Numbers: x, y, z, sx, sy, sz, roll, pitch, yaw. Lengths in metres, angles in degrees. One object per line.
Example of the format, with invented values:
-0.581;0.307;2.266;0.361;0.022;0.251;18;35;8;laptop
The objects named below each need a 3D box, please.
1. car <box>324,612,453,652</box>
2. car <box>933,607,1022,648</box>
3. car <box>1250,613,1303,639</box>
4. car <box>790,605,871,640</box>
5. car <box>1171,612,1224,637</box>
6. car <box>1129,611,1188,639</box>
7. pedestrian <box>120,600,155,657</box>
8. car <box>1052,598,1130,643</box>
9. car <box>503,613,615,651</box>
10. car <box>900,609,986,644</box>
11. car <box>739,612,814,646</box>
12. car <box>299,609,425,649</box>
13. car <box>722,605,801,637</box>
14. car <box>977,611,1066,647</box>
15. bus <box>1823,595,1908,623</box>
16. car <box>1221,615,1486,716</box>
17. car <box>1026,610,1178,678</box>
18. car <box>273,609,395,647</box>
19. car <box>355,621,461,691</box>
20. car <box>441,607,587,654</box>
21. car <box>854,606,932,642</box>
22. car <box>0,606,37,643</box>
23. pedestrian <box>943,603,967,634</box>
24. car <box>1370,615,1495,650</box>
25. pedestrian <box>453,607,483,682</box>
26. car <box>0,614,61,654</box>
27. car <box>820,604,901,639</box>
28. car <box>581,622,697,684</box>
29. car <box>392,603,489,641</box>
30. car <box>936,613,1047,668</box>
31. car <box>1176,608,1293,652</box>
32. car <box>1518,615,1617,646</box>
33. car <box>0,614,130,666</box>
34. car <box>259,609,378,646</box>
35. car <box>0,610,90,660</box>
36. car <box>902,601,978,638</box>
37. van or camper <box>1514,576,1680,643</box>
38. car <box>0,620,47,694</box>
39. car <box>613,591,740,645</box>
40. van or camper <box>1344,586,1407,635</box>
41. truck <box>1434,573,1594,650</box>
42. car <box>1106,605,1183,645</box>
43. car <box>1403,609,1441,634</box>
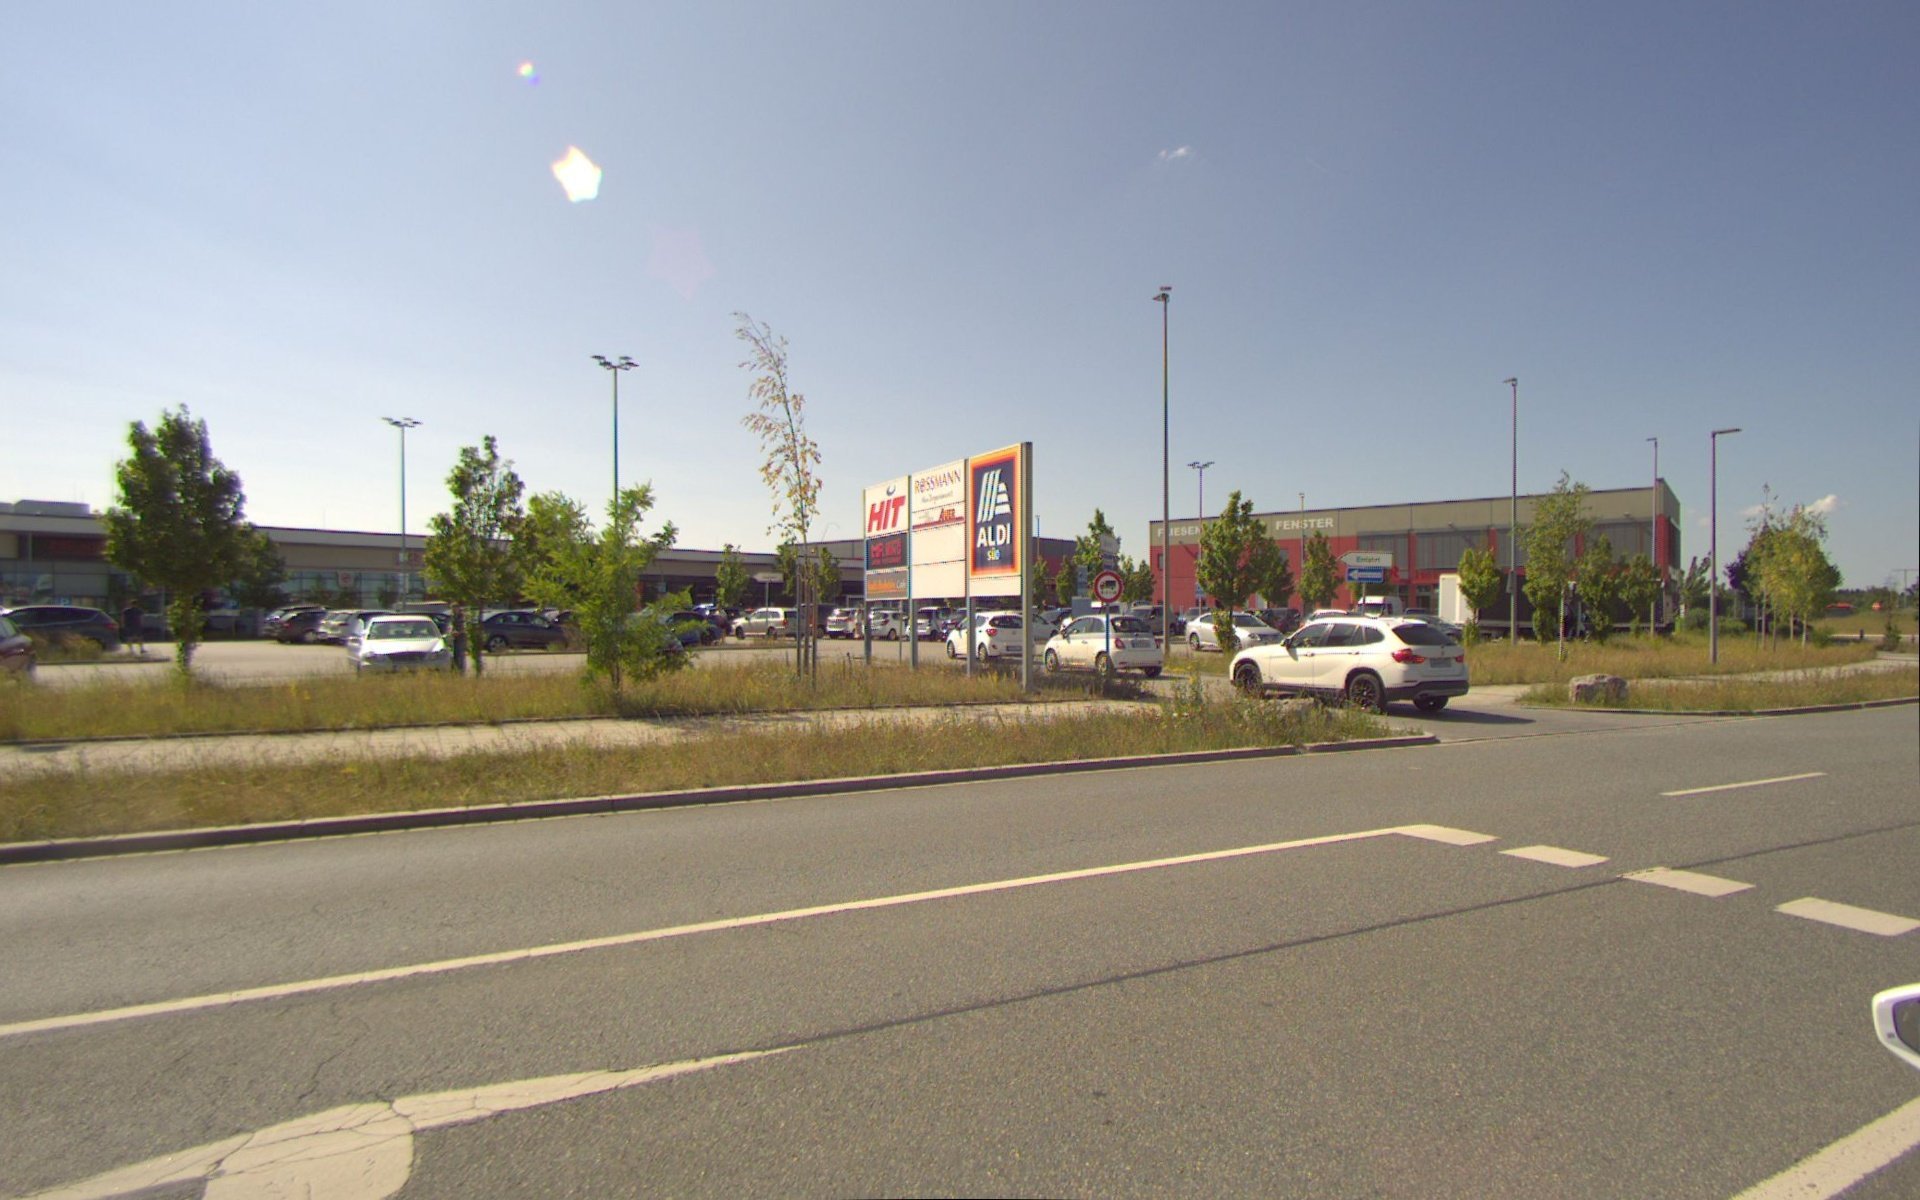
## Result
-23.464;1.274;41.361;1.690;1.565;4.337;-1;-1;38;car
0.873;1.277;47.384;1.888;1.827;4.362;0;-1;39;car
19.706;1.597;62.356;1.809;1.583;4.365;0;-1;37;car
-6.965;1.195;54.227;1.886;1.817;4.367;0;-1;35;car
15.583;1.598;65.827;1.809;1.583;4.365;0;-1;37;car
12.059;1.504;60.798;1.809;1.583;4.365;0;-1;37;car
-27.055;0.927;33.034;0.562;1.848;0.777;0;-1;40;pedestrian
6.570;1.019;50.015;1.810;2.092;4.362;0;-1;39;car
-17.651;1.396;44.386;1.690;1.596;4.337;-1;-1;38;car
-0.804;1.294;49.403;1.888;1.639;4.362;0;-1;39;car
-8.798;1.347;48.071;1.825;1.568;3.953;1;-1;-40;car
-25.659;1.230;43.213;1.690;1.637;4.337;-1;-1;38;car
-11.300;1.186;57.535;1.886;1.748;4.367;0;-1;35;car
2.835;1.290;45.363;1.810;1.532;4.362;0;-1;39;car
114.094;1.121;126.504;12.019;3.120;2.783;-2;0;-21;bus
6.831;1.061;17.909;1.894;1.568;4.195;1;-1;-28;car
3.479;1.060;25.366;1.893;1.568;3.972;1;-1;-27;car
-27.848;1.234;44.825;1.690;1.623;4.337;-1;-1;38;car
-12.343;1.170;22.400;1.914;1.366;4.124;0;-1;-30;car
-15.276;1.018;34.615;1.690;1.536;4.337;-1;-1;38;car
-3.345;1.191;50.992;1.883;1.740;4.374;0;-1;29;car
-44.364;1.125;46.345;4.282;1.655;1.712;-1;-1;34;car
-0.323;1.250;67.279;1.076;2.075;1.245;0;-1;39;pedestrian
19.814;1.329;42.270;1.956;1.402;4.393;1;-1;-36;car
-11.514;1.023;23.506;0.572;1.717;0.761;1;-1;-30;pedestrian
-35.074;1.203;35.795;1.690;1.436;4.337;-1;-1;38;car
-5.157;1.136;52.660;1.885;1.749;4.369;0;-1;34;car
-8.037;1.242;24.917;1.914;1.366;4.124;0;-1;-30;car
-27.767;1.175;53.834;1.690;1.984;4.337;-1;-1;38;car
0.899;1.199;31.095;1.891;1.568;3.977;1;-1;-24;car
10.085;1.086;37.291;1.811;1.532;4.598;1;-1;-21;car
32.751;1.637;54.240;4.321;1.573;1.827;0;-1;43;car
-26.802;1.138;28.858;1.690;1.436;4.337;-1;-1;38;car
-29.604;1.234;46.484;1.757;1.616;4.337;-1;-1;38;car
-31.058;1.124;32.363;1.690;1.592;4.337;-1;-1;38;car
-1.109;1.103;57.619;1.810;2.051;4.612;0;-1;39;car
35.900;0.553;56.851;7.612;3.514;2.540;0;-1;44;van or camper
-19.039;1.061;18.895;1.914;1.366;4.124;0;-1;-30;car
-11.170;0.709;39.873;1.690;2.012;4.814;-1;-1;38;car
29.902;0.772;72.159;2.399;3.314;7.206;0;-1;38;van or camper
26.475;0.580;48.020;7.375;3.510;2.315;1;-1;-18;truck
8.944;1.197;48.461;1.810;1.848;4.362;0;-1;39;car
32.366;1.501;70.314;1.639;1.693;4.069;0;-1;36;car
